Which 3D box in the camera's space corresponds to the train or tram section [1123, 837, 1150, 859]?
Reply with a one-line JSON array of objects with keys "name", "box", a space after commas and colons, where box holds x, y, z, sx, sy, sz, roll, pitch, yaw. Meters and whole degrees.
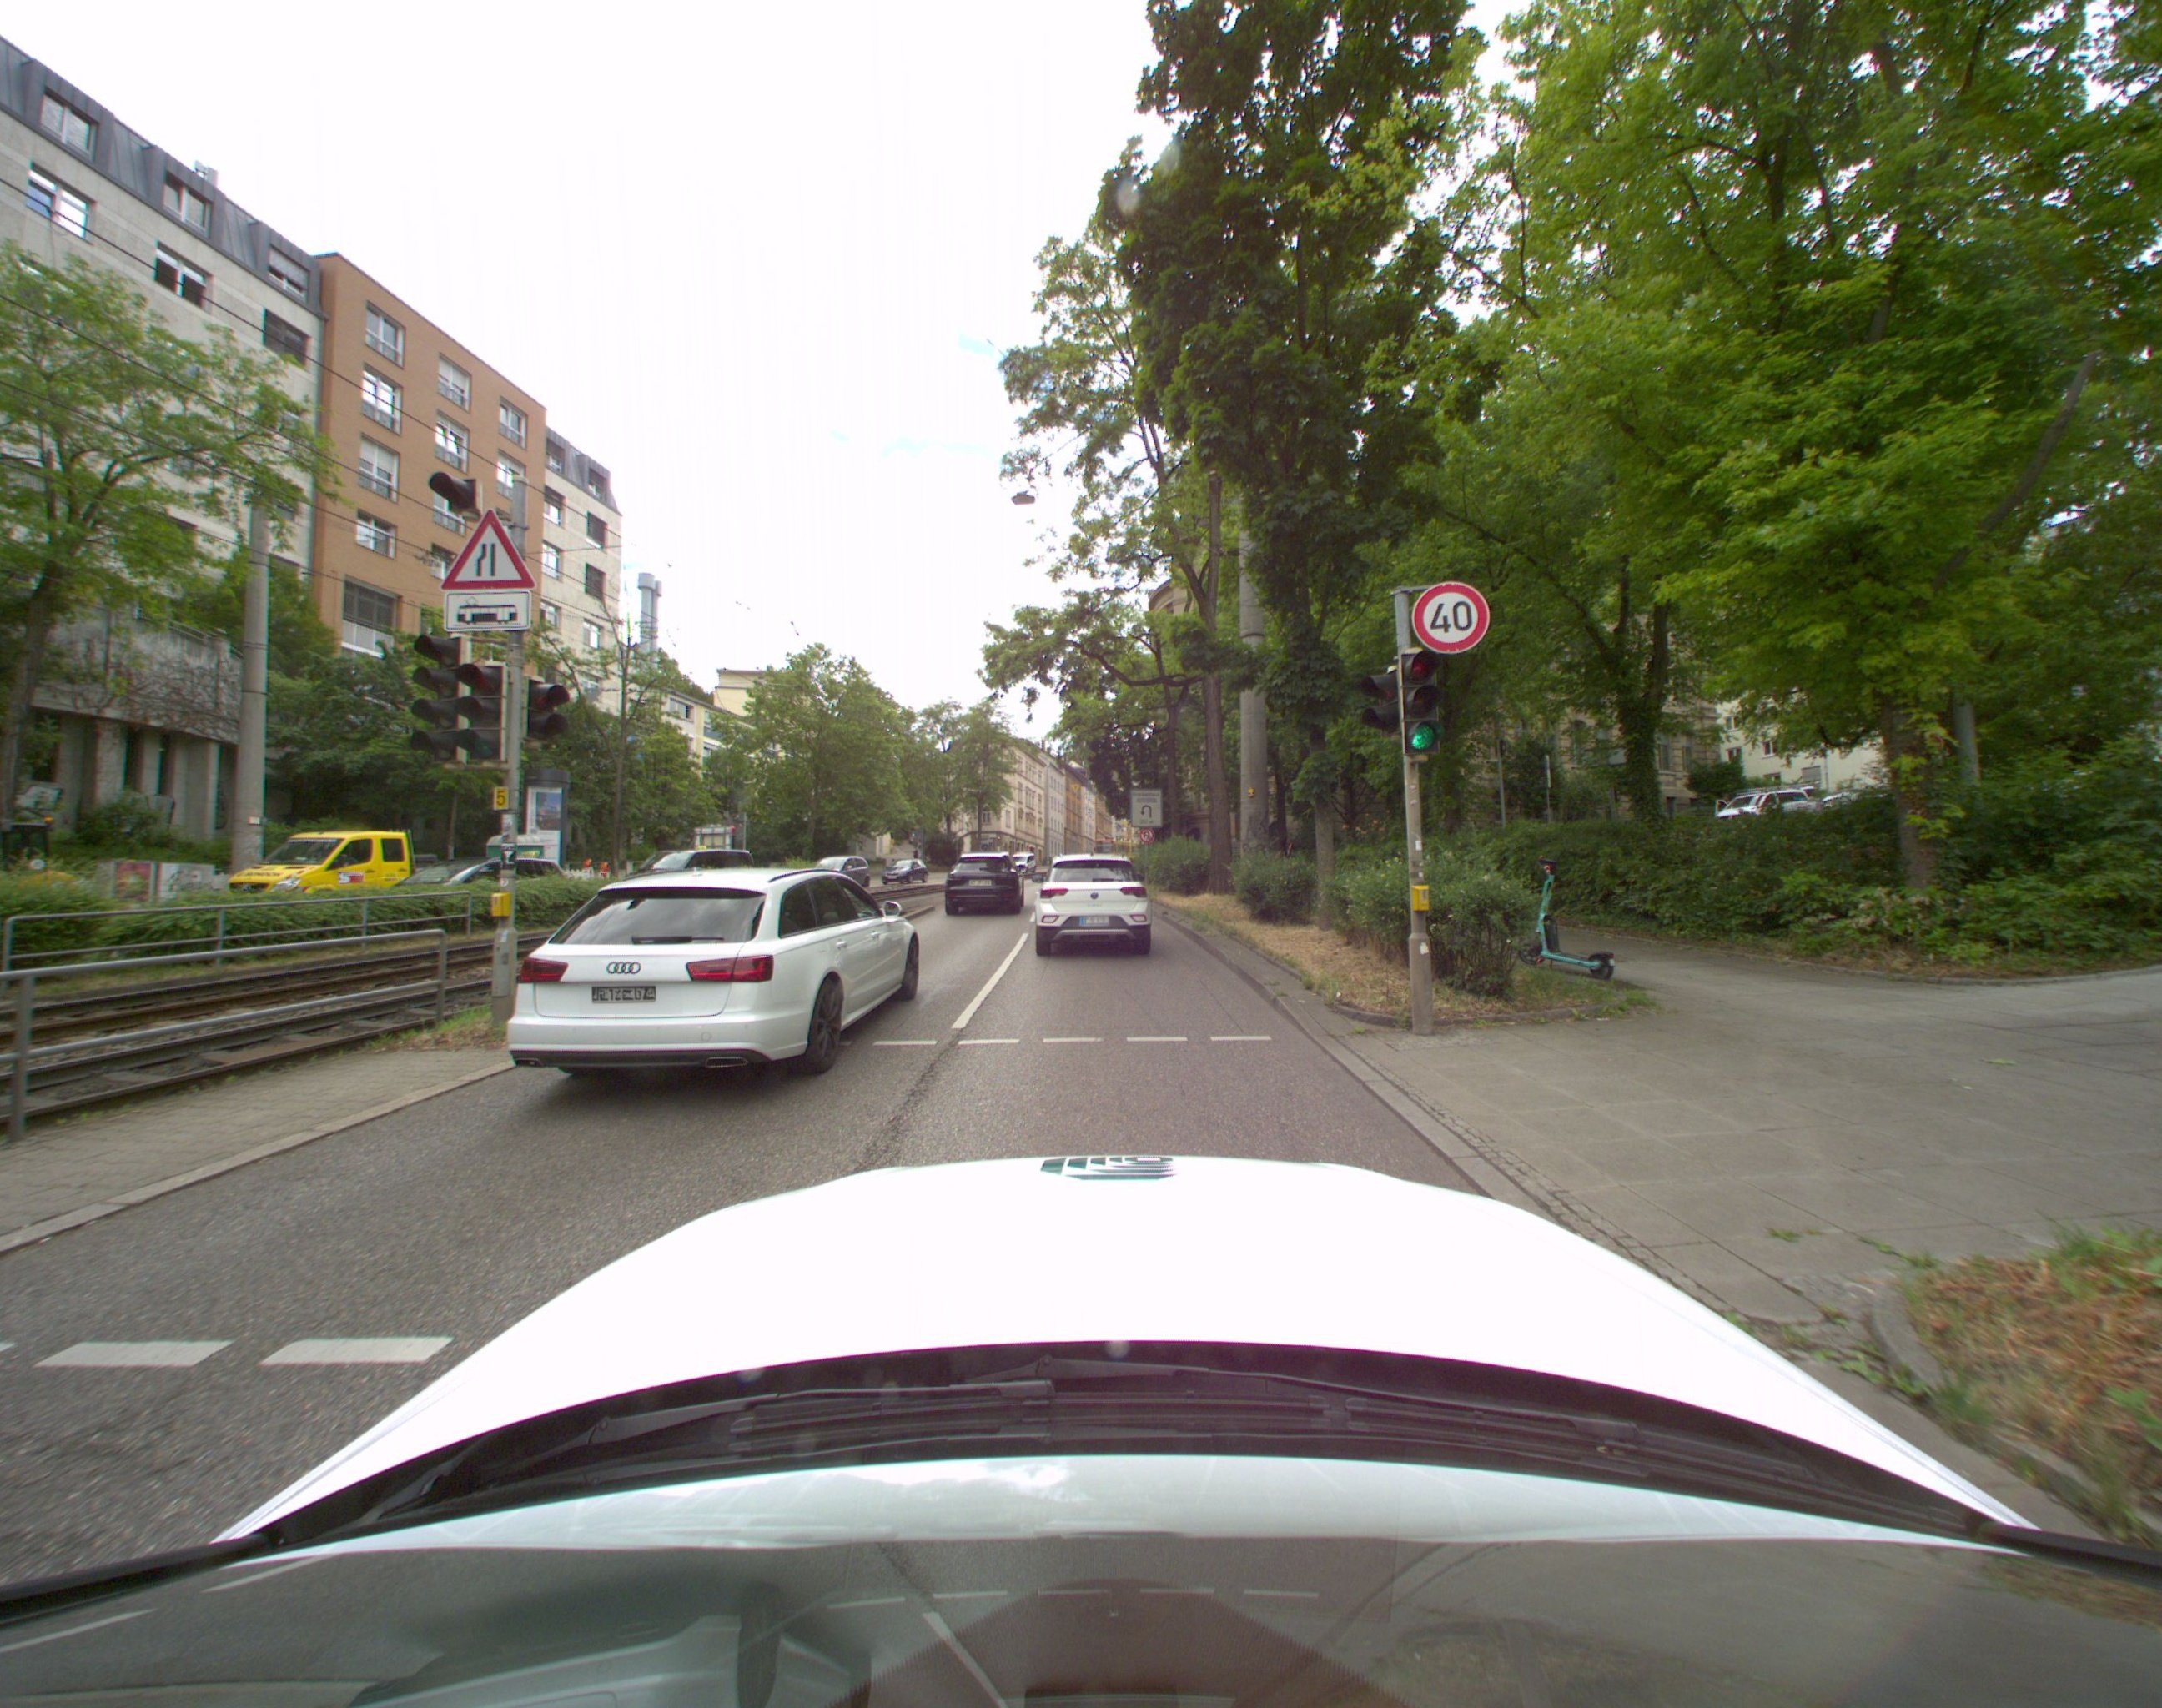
[{"name": "train or tram section", "box": [10.090, -1.005, 145.775, 2.859, 3.725, 18.806, 0, 0, 10]}]

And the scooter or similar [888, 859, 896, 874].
[{"name": "scooter or similar", "box": [-15.623, 1.009, 67.392, 0.489, 1.219, 1.636, 1, -1, -10]}]

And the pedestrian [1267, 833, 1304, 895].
[{"name": "pedestrian", "box": [5.725, 0.272, 22.841, 0.769, 1.703, 0.784, -2, 0, -3]}]

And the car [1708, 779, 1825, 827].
[{"name": "car", "box": [34.666, -2.599, 41.200, 5.221, 1.933, 2.162, -4, -2, -21]}]

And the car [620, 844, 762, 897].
[{"name": "car", "box": [-13.066, 0.500, 27.661, 1.981, 1.605, 4.622, -2, 0, 9]}]

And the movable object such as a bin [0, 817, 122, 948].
[{"name": "movable object such as a bin", "box": [-21.337, 0.534, 15.158, 1.922, 2.467, 4.107, 0, 1, 8]}]

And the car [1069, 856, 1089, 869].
[{"name": "car", "box": [-0.221, 1.064, 103.661, 1.982, 1.552, 4.009, -2, 0, 8]}]

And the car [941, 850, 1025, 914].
[{"name": "car", "box": [-2.644, 0.721, 22.948, 2.033, 1.571, 4.353, -1, 0, -3]}]

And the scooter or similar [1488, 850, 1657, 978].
[{"name": "scooter or similar", "box": [5.131, 0.585, 8.628, 0.630, 1.210, 1.551, -2, 0, -11]}]

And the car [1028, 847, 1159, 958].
[{"name": "car", "box": [0.110, 0.703, 13.753, 1.874, 1.554, 3.996, -1, 0, -2]}]

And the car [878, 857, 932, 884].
[{"name": "car", "box": [-10.260, 0.949, 47.764, 1.757, 1.408, 4.091, -2, 0, 7]}]

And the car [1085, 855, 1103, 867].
[{"name": "car", "box": [1.800, 0.970, 113.193, 1.982, 1.552, 4.009, -2, 0, 8]}]

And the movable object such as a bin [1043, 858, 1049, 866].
[{"name": "movable object such as a bin", "box": [-4.811, 1.088, 112.108, 0.682, 1.074, 0.678, -1, -1, 10]}]

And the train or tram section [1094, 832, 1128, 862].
[{"name": "train or tram section", "box": [4.251, -0.864, 110.635, 2.865, 3.725, 14.892, 0, 0, 9]}]

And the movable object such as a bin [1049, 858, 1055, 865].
[{"name": "movable object such as a bin", "box": [-4.116, 1.090, 116.303, 0.723, 1.074, 0.673, -1, -1, 10]}]

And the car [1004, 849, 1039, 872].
[{"name": "car", "box": [-5.331, 0.531, 73.827, 1.935, 1.946, 5.016, -1, 0, 9]}]

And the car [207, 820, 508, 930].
[{"name": "car", "box": [-19.633, 0.496, 22.731, 2.145, 2.593, 6.350, -2, 0, 8]}]

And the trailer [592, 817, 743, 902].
[{"name": "trailer", "box": [-15.564, 0.184, 31.116, 2.006, 2.973, 5.608, 0, 0, 12]}]

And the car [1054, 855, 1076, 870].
[{"name": "car", "box": [-1.841, 0.975, 94.472, 1.982, 1.552, 4.009, -2, 0, 8]}]

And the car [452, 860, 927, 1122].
[{"name": "car", "box": [-2.710, 0.811, 7.052, 1.873, 1.455, 4.616, -1, 0, 0]}]

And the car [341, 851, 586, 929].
[{"name": "car", "box": [-14.445, 0.760, 19.484, 1.984, 1.605, 4.627, -2, 0, 6]}]

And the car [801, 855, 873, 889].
[{"name": "car", "box": [-11.225, 0.788, 37.709, 1.648, 1.443, 3.751, -2, 0, 10]}]
